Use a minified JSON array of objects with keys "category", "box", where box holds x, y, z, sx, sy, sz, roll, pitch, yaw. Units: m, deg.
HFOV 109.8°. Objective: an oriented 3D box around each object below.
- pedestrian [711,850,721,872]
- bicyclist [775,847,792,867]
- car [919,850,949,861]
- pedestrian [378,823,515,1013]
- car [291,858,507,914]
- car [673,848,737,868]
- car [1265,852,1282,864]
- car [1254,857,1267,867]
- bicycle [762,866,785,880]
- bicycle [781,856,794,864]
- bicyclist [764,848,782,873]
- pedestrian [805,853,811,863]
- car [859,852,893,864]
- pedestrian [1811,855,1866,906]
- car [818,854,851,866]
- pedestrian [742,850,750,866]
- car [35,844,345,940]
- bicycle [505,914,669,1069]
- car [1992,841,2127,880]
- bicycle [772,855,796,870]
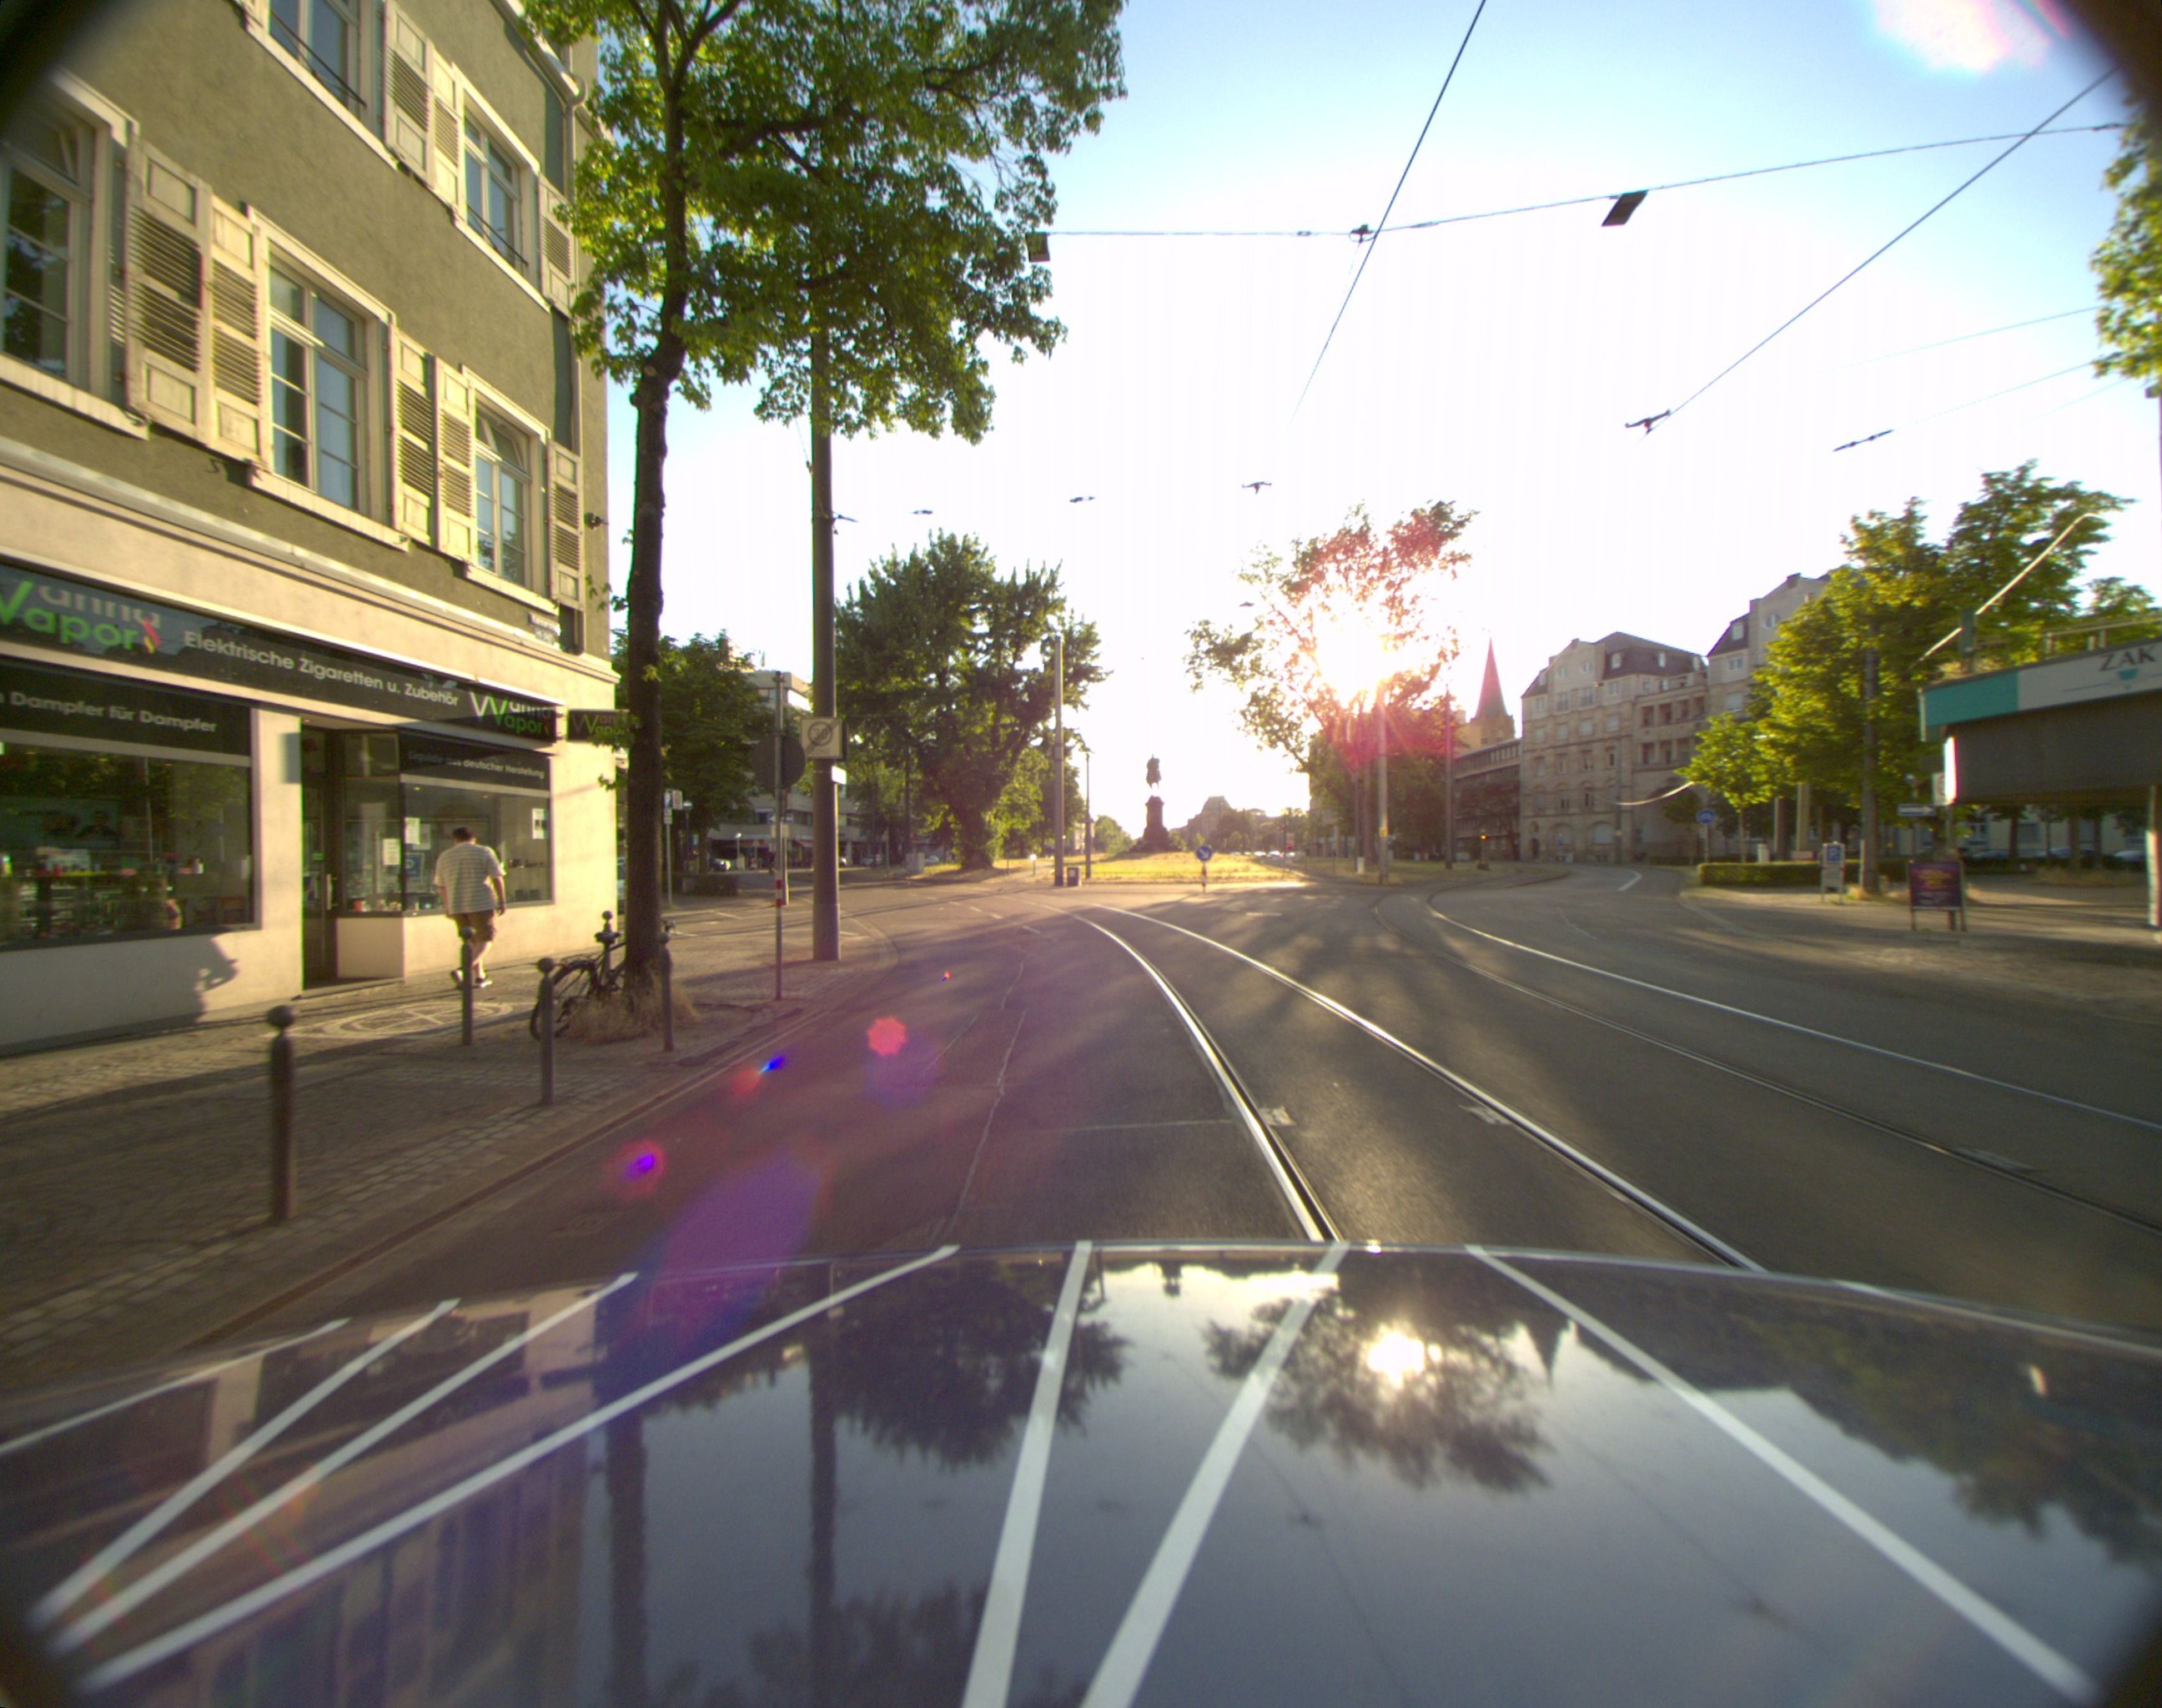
[{"category":"pedestrian","box":[-28.757,0.569,59.865,0.589,1.733,0.643,0,0,-7]},{"category":"bicyclist","box":[-29.000,0.297,74.081,1.236,1.980,1.366,0,1,-5]},{"category":"car","box":[-22.711,0.241,117.610,1.994,1.596,4.532,0,0,30]},{"category":"pedestrian","box":[-7.056,0.672,8.505,0.844,2.002,0.845,0,1,-13]},{"category":"car","box":[-19.363,0.882,21.703,4.669,1.505,1.739,0,1,2]},{"category":"car","box":[-33.856,0.363,68.558,4.708,1.761,1.999,-1,1,-3]},{"category":"car","box":[34.032,0.737,134.326,1.998,2.002,4.548,-1,0,1]},{"category":"car","box":[37.413,1.674,158.620,1.998,2.002,4.001,1,1,5]},{"category":"bicycle","box":[-24.675,1.485,60.931,0.938,1.070,2.215,-1,1,-45]},{"category":"bicycle","box":[-37.450,0.783,96.893,1.448,0.987,0.530,2,2,-24]},{"category":"bicyclist","box":[-24.743,0.514,61.003,1.110,1.962,0.926,0,1,45]},{"category":"pedestrian","box":[-36.855,0.500,102.468,0.612,1.313,0.591,0,1,-6]},{"category":"car","box":[-28.620,0.587,106.128,1.994,1.596,4.532,0,0,30]},{"category":"pedestrian","box":[25.887,0.885,25.995,0.905,1.693,1.164,1,1,20]},{"category":"car","box":[-32.211,0.746,99.405,1.790,1.433,4.007,0,0,29]},{"category":"pedestrian","box":[-39.451,0.490,89.490,0.605,1.827,0.572,4,1,-30]},{"category":"car","box":[-19.321,0.765,16.640,4.508,1.952,2.023,0,1,2]},{"category":"bicycle","box":[-4.360,1.158,6.850,0.355,1.070,1.699,0,1,0]},{"category":"car","box":[52.459,0.324,40.854,2.001,2.002,3.994,0,1,-16]},{"category":"bicycle","box":[-29.017,0.825,74.346,1.272,1.353,3.239,0,1,-5]}]
